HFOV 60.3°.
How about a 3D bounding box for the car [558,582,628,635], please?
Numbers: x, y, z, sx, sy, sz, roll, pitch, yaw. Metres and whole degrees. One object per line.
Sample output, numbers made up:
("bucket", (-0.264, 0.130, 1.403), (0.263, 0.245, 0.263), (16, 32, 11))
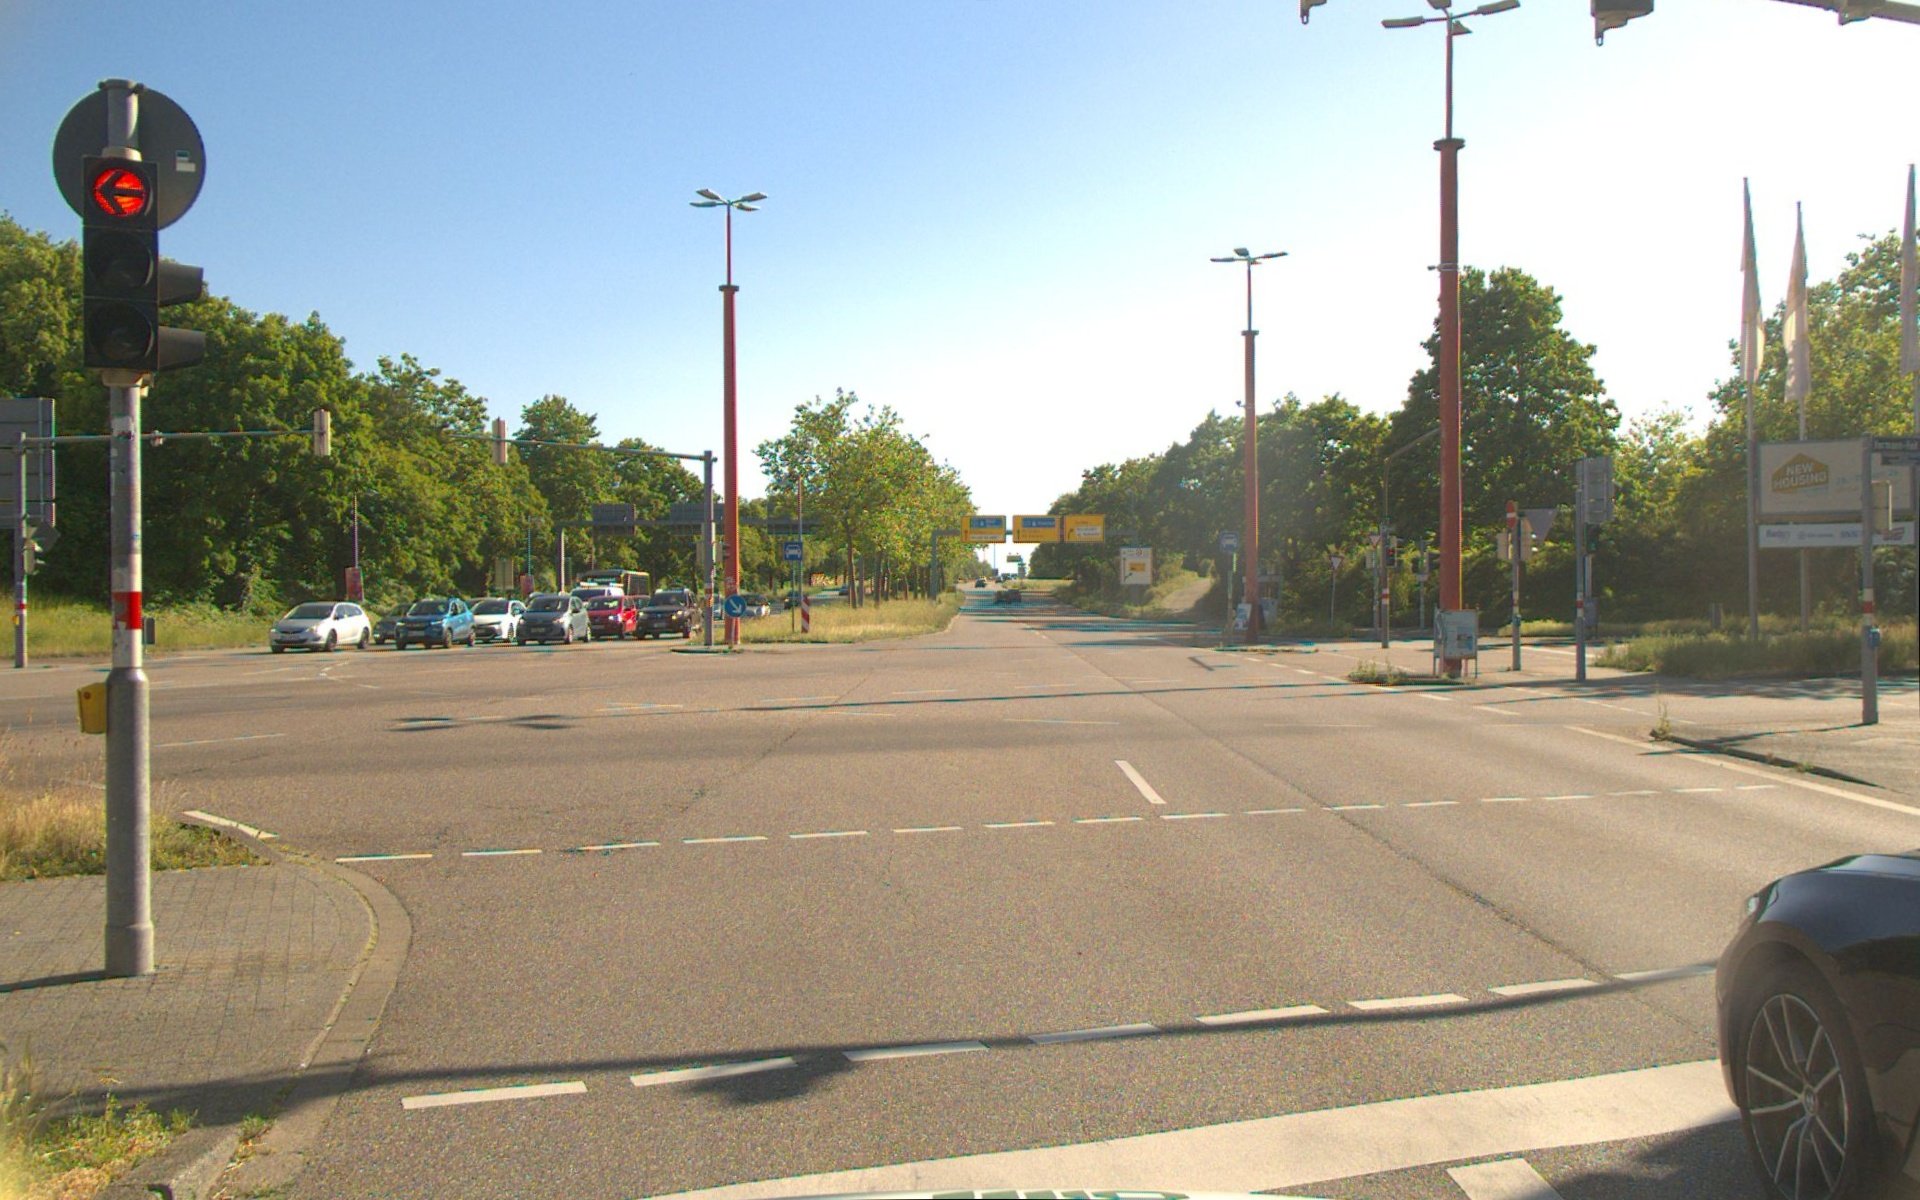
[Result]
("car", (-15.621, 0.339, 70.586), (1.922, 2.193, 5.080), (-1, 0, -1))

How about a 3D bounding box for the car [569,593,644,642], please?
("car", (-12.446, 0.590, 58.429), (1.838, 1.579, 3.998), (-3, 0, -2))

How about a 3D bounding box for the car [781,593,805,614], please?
("car", (-15.158, 0.339, 150.202), (1.800, 1.870, 3.960), (1, 0, -1))

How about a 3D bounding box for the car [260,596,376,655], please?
("car", (-19.543, 0.745, 50.540), (1.838, 1.681, 4.219), (-1, 0, 0))

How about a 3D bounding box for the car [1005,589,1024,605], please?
("car", (6.170, -0.375, 187.003), (1.953, 1.764, 3.999), (1, 0, -1))

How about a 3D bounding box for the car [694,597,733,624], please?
("car", (-15.325, 0.632, 102.936), (1.847, 1.570, 3.999), (-2, 0, -1))

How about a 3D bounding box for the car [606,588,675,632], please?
("car", (-12.405, 0.375, 64.430), (1.862, 1.658, 4.000), (0, 0, 1))

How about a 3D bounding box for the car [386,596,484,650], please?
("car", (-16.105, 0.690, 50.875), (1.764, 1.542, 3.858), (-2, 0, 0))

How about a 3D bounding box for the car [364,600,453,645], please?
("car", (-19.888, 0.783, 59.793), (1.846, 1.539, 4.000), (-1, 0, 0))

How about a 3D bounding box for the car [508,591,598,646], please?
("car", (-12.770, 0.558, 52.087), (1.836, 1.577, 4.027), (-2, 1, -1))

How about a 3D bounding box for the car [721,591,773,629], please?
("car", (-9.457, 0.422, 73.729), (1.847, 1.570, 3.999), (-2, 0, -1))

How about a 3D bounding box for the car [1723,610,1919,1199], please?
("car", (2.892, 0.765, 2.306), (1.727, 1.466, 4.295), (1, 0, 1))

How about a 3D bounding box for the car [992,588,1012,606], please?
("car", (4.439, -0.317, 174.049), (1.953, 1.764, 3.999), (1, 0, -1))

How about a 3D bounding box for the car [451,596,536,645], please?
("car", (-16.032, 0.671, 57.027), (1.863, 1.582, 3.998), (-1, 0, -2))

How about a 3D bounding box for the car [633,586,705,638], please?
("car", (-9.839, 0.392, 56.209), (1.757, 1.654, 4.142), (-2, 0, -2))
